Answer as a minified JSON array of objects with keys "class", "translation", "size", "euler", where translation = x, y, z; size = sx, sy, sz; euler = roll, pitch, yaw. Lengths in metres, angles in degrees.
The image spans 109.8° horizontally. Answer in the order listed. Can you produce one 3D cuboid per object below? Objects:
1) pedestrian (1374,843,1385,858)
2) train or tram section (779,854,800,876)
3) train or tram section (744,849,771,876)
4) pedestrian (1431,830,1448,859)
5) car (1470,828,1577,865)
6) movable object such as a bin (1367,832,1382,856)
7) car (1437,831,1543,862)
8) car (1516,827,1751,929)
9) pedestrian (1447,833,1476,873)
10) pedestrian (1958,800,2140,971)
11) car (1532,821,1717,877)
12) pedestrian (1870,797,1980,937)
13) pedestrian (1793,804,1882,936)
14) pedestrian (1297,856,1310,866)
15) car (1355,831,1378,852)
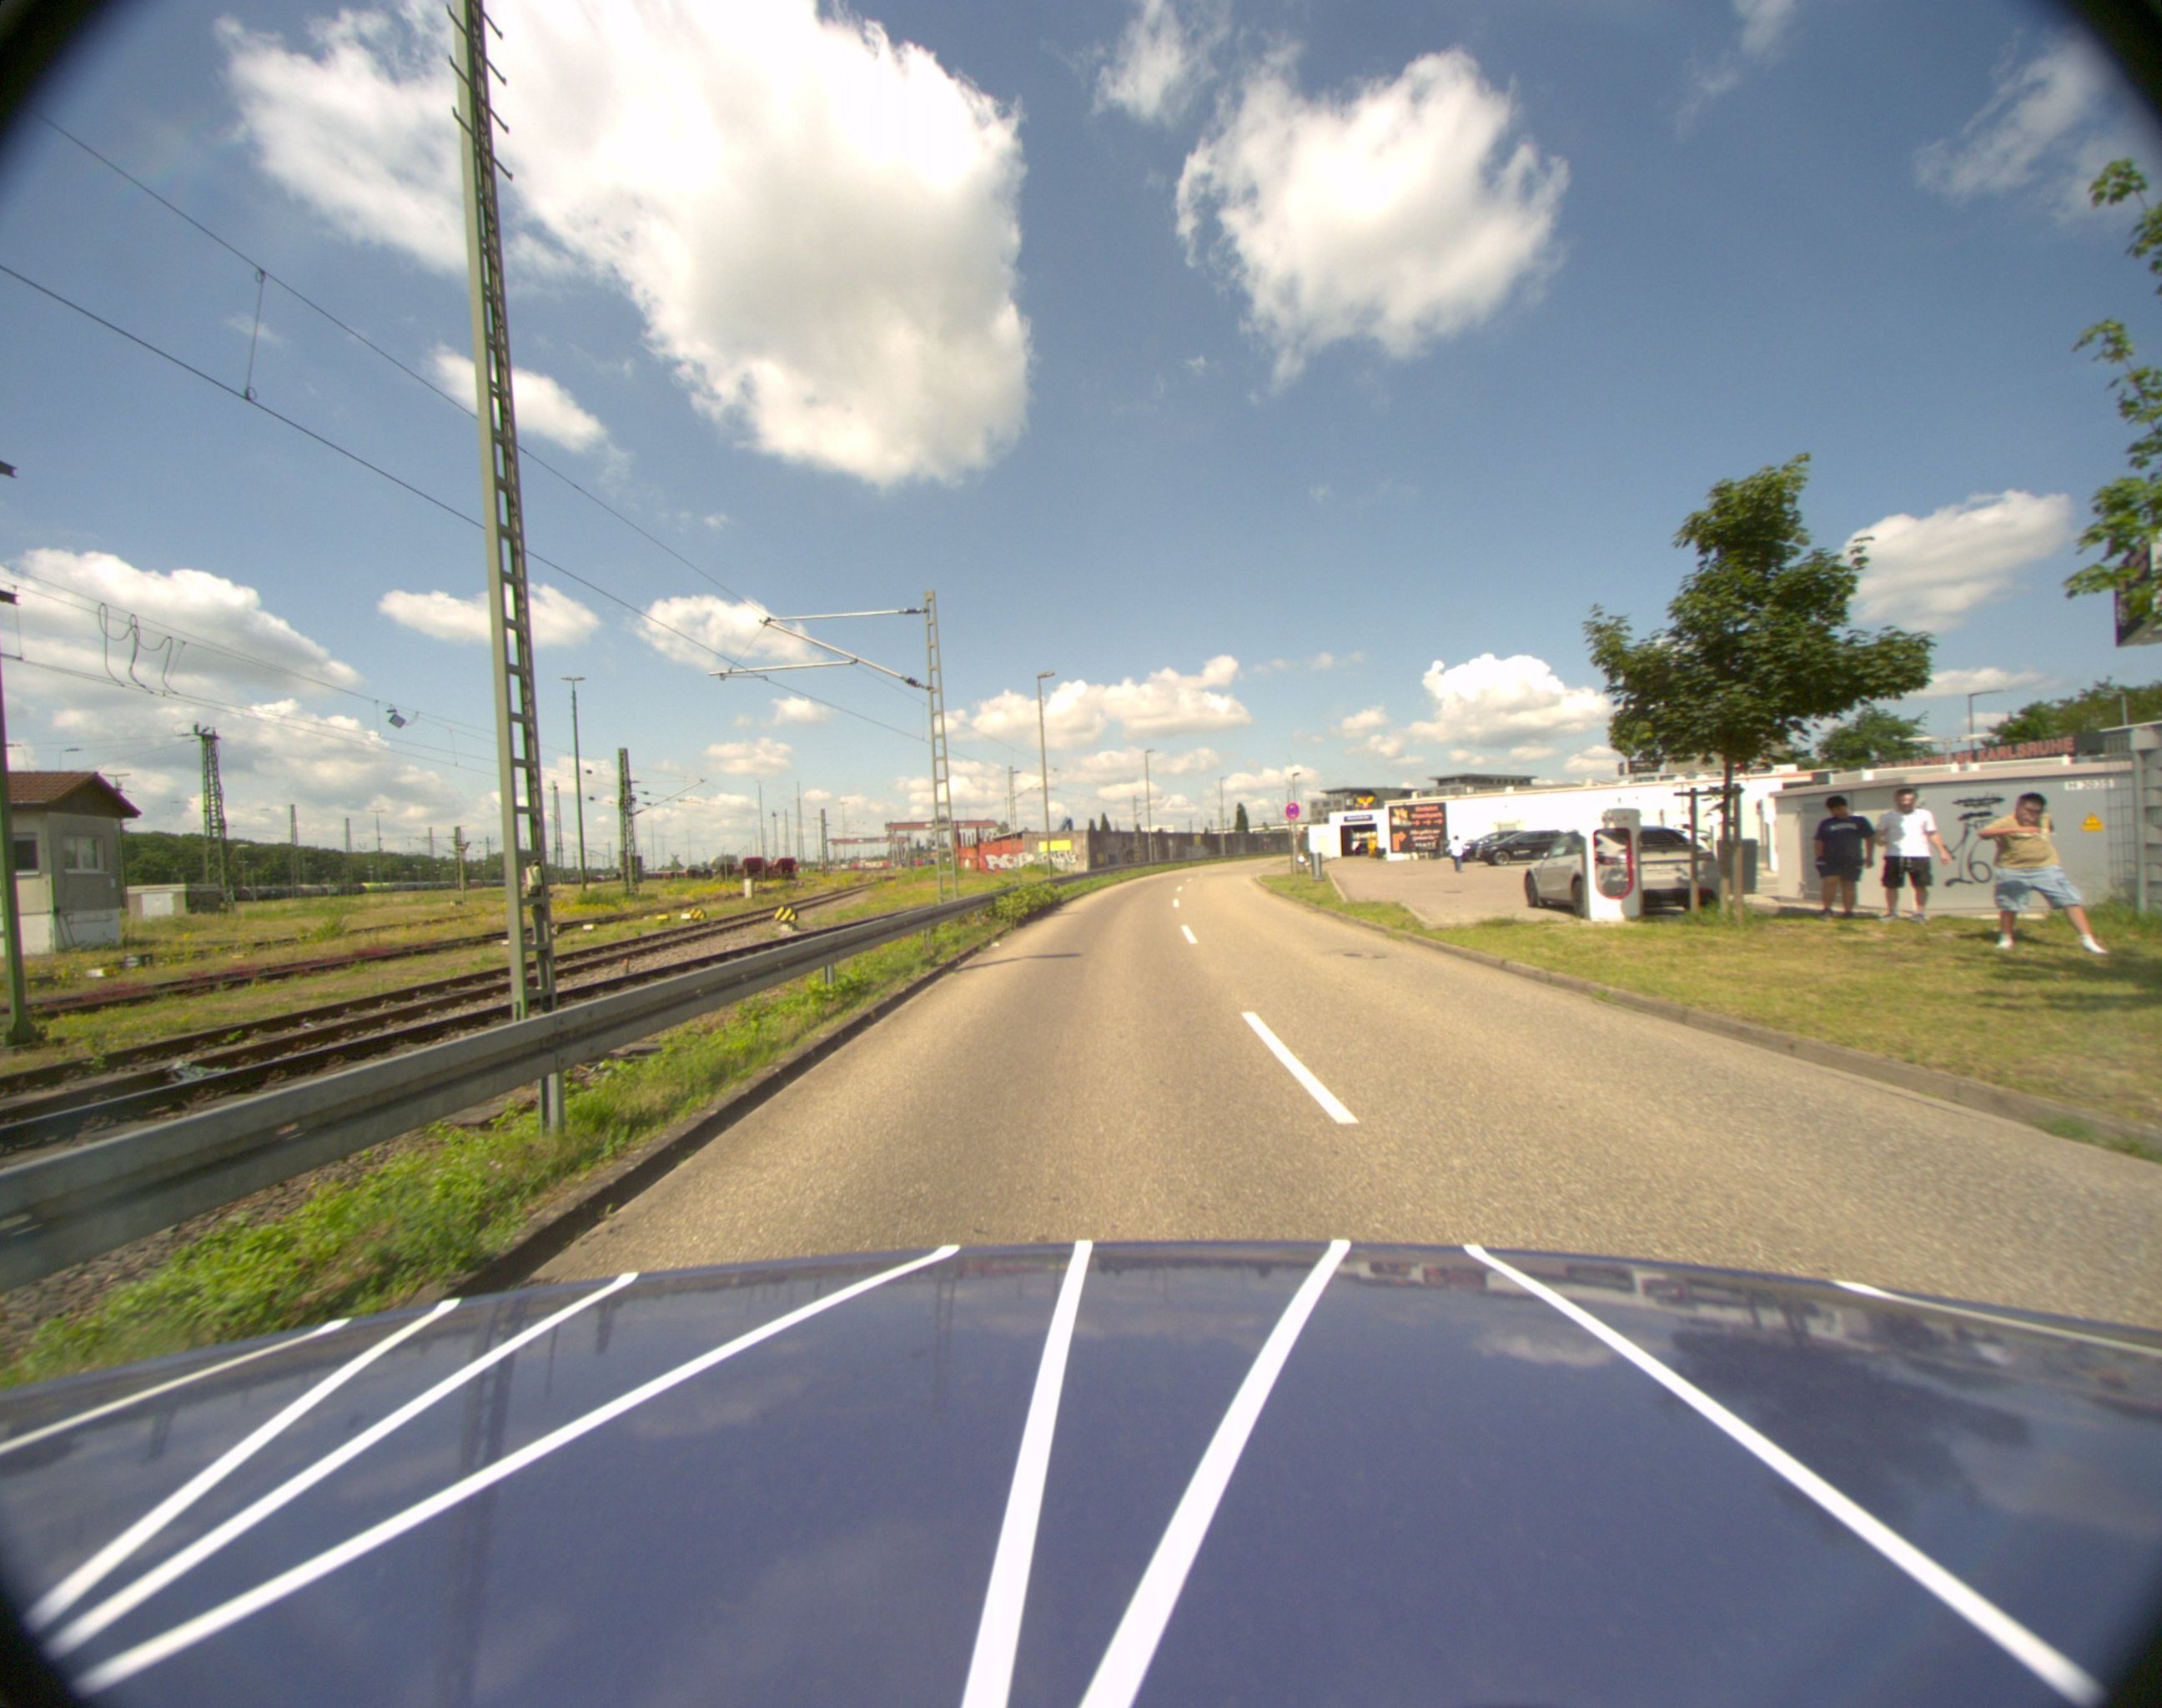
[{"class":"pedestrian","translation":[25.666,-0.271,65.394],"size":[0.754,1.249,0.900],"euler":[-3,0,26]},{"class":"train or tram section","translation":[-53.025,1.974,138.110],"size":[3.209,3.695,12.530],"euler":[-3,0,-22]},{"class":"train or tram section","translation":[-48.958,1.309,115.148],"size":[3.305,3.695,12.530],"euler":[-3,0,-22]},{"class":"pedestrian","translation":[25.488,-0.698,54.027],"size":[0.939,2.003,0.866],"euler":[-2,3,23]},{"class":"car","translation":[21.245,-0.376,36.627],"size":[3.993,1.510,2.002],"euler":[-3,1,14]},{"class":"movable object such as a bin","translation":[27.636,-0.933,71.600],"size":[1.063,2.140,2.707],"euler":[-3,2,25]},{"class":"car","translation":[22.652,-0.411,42.300],"size":[4.753,1.447,2.239],"euler":[-3,0,13]},{"class":"car","translation":[9.938,0.409,14.207],"size":[1.933,1.508,4.781],"euler":[-3,-1,15]},{"class":"pedestrian","translation":[16.538,-0.048,33.071],"size":[0.863,1.643,0.942],"euler":[-3,0,13]},{"class":"pedestrian","translation":[9.244,0.286,7.303],"size":[0.739,1.533,0.816],"euler":[-2,1,18]},{"class":"car","translation":[17.943,-0.171,25.335],"size":[4.558,1.515,2.001],"euler":[-3,1,13]},{"class":"pedestrian","translation":[9.954,0.133,8.965],"size":[0.714,1.556,0.757],"euler":[-3,2,-34]},{"class":"pedestrian","translation":[9.495,0.177,9.535],"size":[0.723,1.570,0.711],"euler":[-4,2,-40]},{"class":"pedestrian","translation":[17.614,0.559,60.090],"size":[0.863,0.755,0.819],"euler":[-1,0,23]},{"class":"car","translation":[30.639,-1.342,81.524],"size":[1.995,2.097,5.017],"euler":[-2,1,24]}]
